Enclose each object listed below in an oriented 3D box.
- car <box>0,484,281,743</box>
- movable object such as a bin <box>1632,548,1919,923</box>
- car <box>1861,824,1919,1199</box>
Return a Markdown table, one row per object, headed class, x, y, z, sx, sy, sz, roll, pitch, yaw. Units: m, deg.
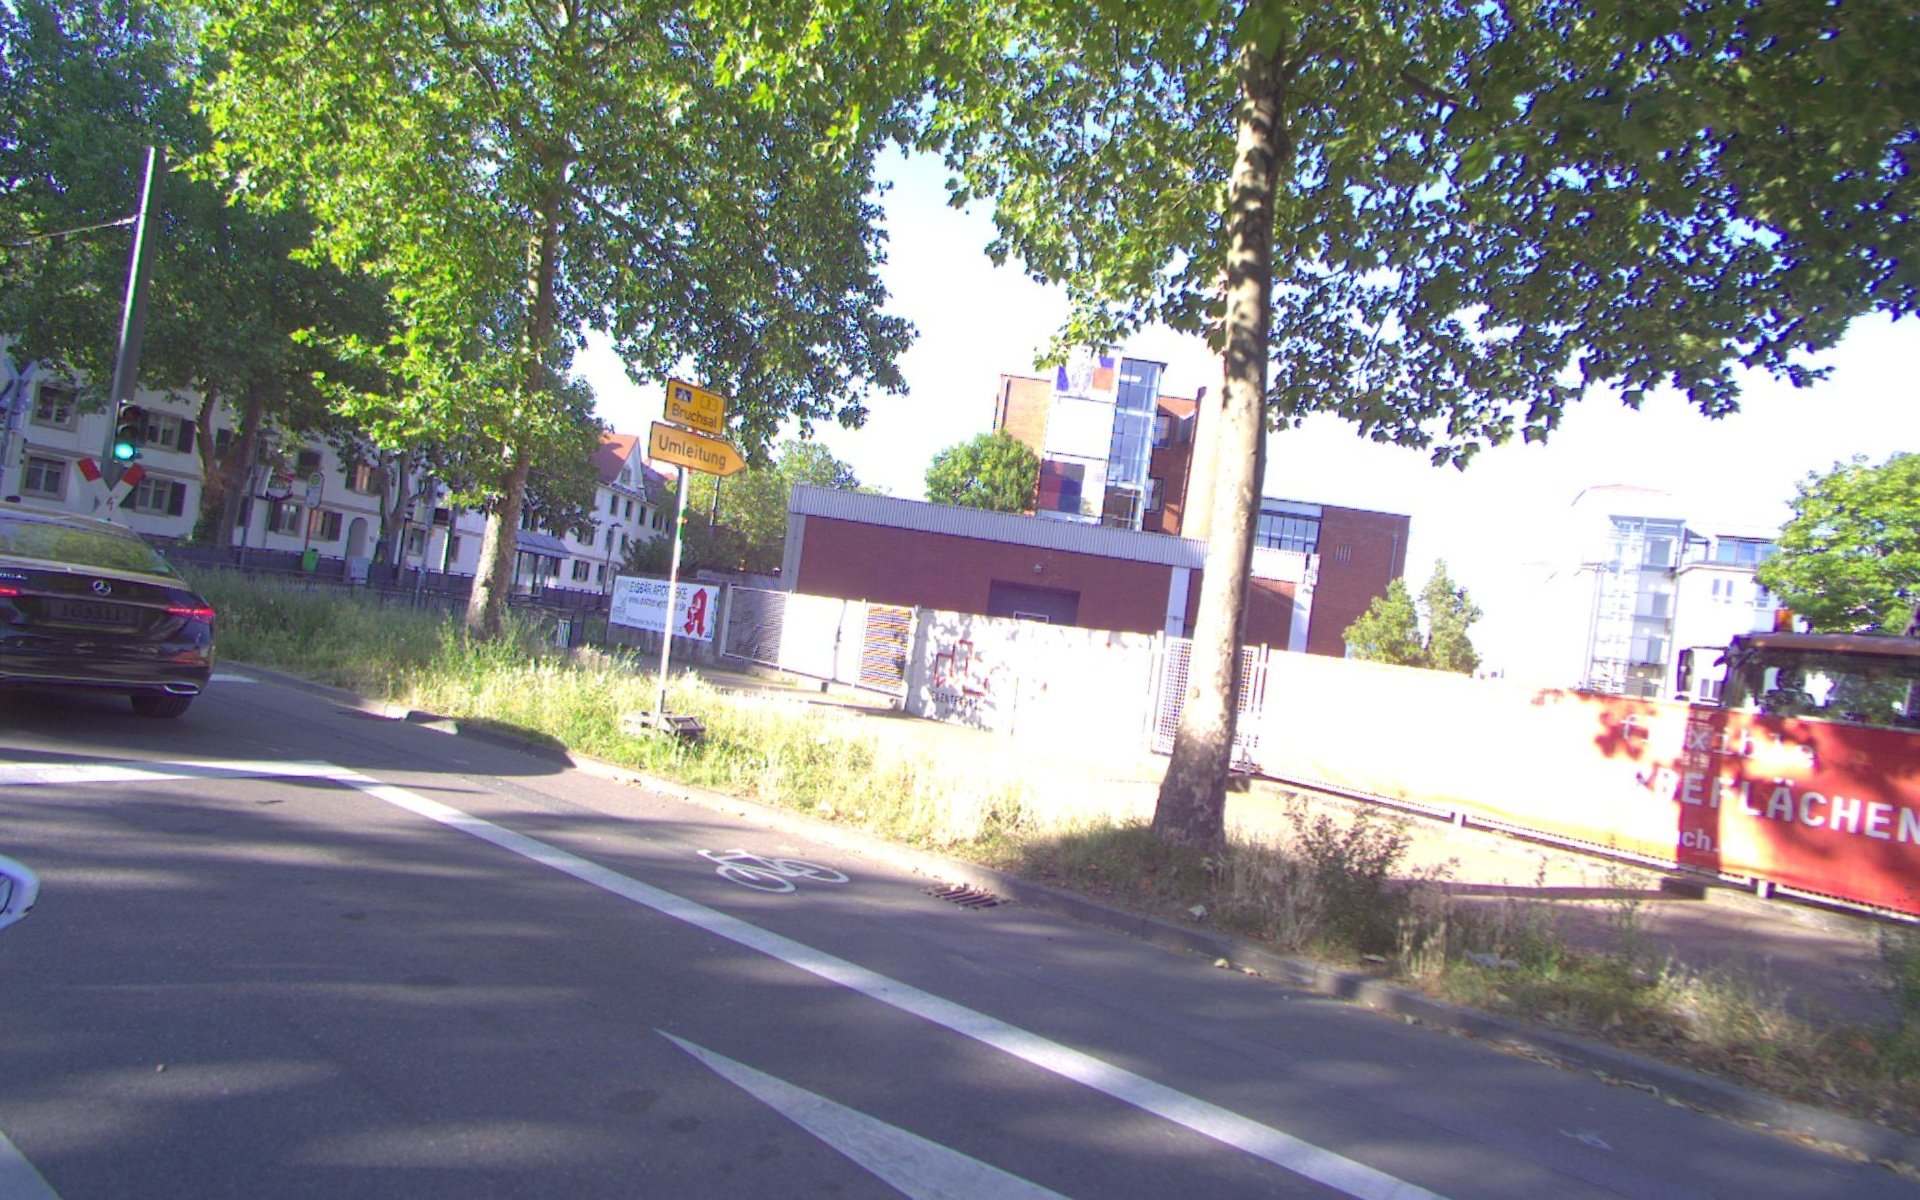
| class | x | y | z | sx | sy | sz | roll | pitch | yaw |
| --- | --- | --- | --- | --- | --- | --- | --- | --- | --- |
| car | -7.373 | -0.099 | 7.692 | 4.308 | 1.507 | 1.894 | 9 | -2 | 32 |
| movable object such as a bin | 9.846 | 1.542 | 11.055 | 3.173 | 3.082 | 6.269 | 6 | -4 | 41 |
| car | 3.089 | 1.120 | 0.291 | 3.901 | 1.615 | 1.893 | 9 | -2 | 34 |
